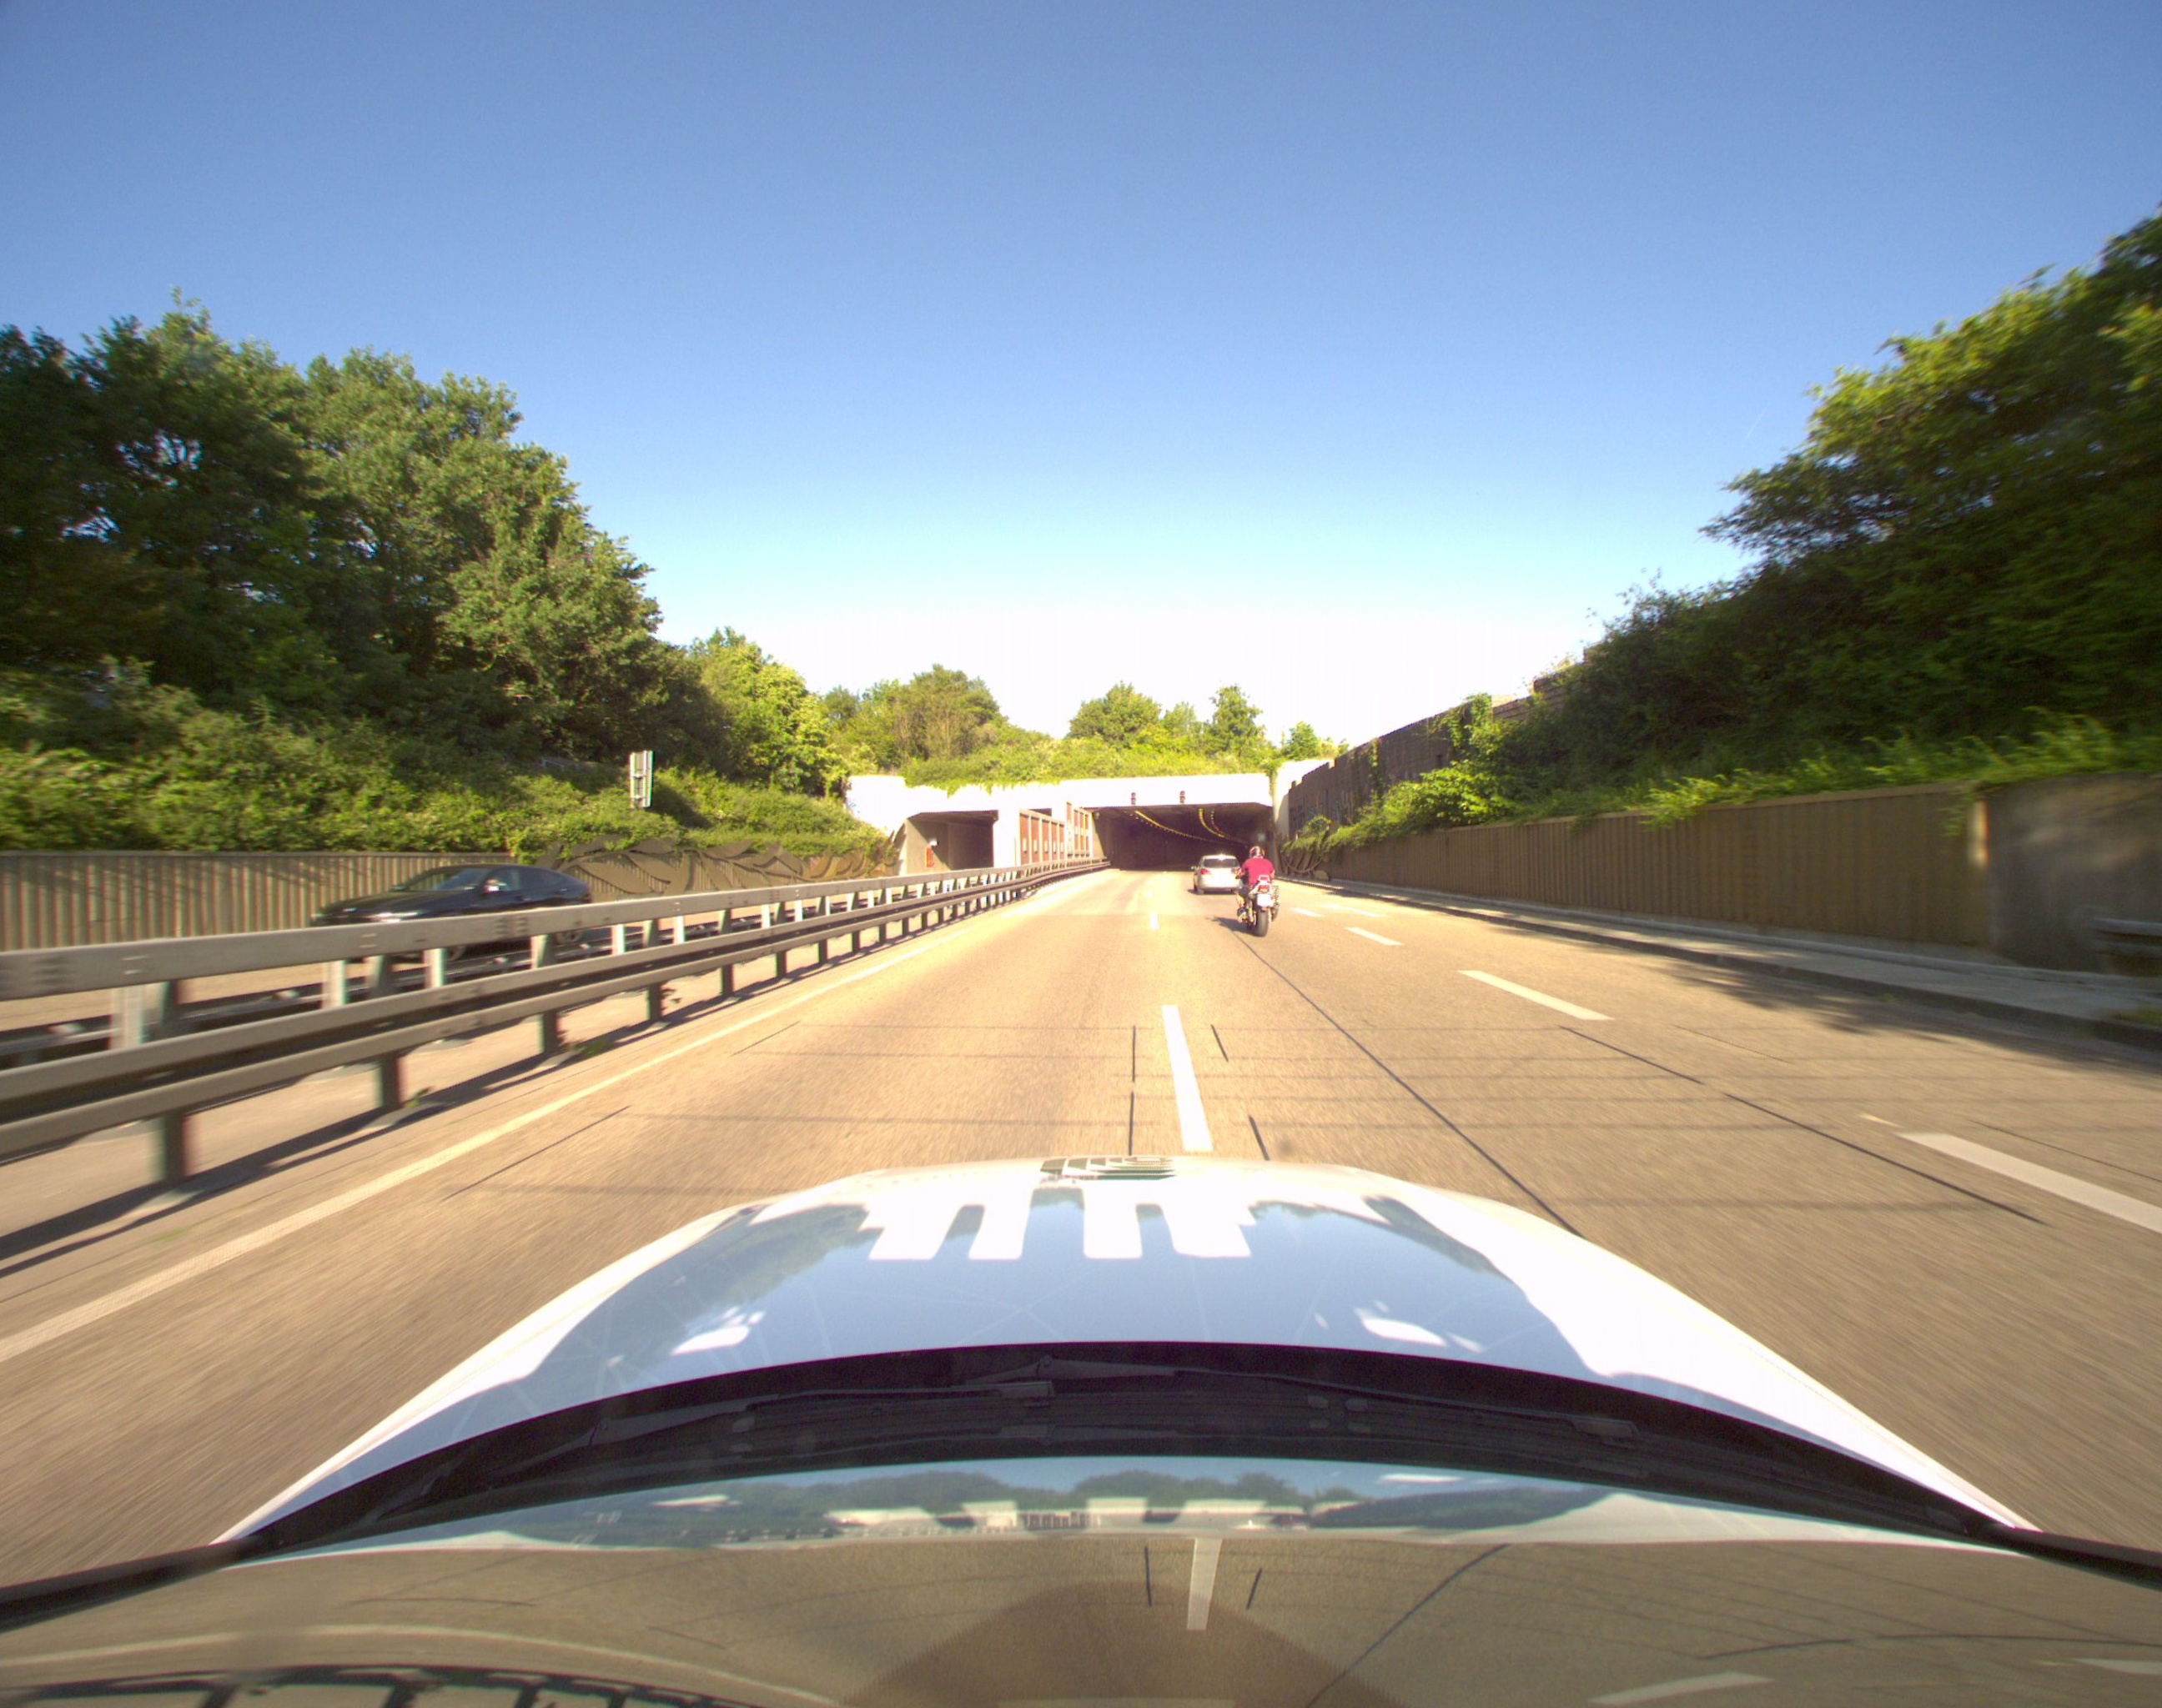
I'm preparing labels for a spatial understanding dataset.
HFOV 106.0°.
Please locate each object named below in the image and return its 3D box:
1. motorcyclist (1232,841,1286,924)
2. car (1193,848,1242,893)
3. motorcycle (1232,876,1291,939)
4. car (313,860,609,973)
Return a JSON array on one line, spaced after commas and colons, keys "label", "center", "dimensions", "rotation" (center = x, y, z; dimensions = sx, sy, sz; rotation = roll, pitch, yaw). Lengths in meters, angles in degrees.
[{"label": "motorcyclist", "center": [3.327, 0.506, 15.312], "dimensions": [0.879, 1.501, 1.065], "rotation": [0, 1, 5]}, {"label": "car", "center": [5.189, 0.582, 31.296], "dimensions": [1.658, 1.552, 4.008], "rotation": [0, 1, 6]}, {"label": "motorcycle", "center": [3.334, 0.951, 15.295], "dimensions": [0.854, 0.991, 2.734], "rotation": [0, 0, 7]}, {"label": "car", "center": [-11.439, 1.027, 15.594], "dimensions": [1.659, 1.675, 4.870], "rotation": [0, 1, 5]}]
